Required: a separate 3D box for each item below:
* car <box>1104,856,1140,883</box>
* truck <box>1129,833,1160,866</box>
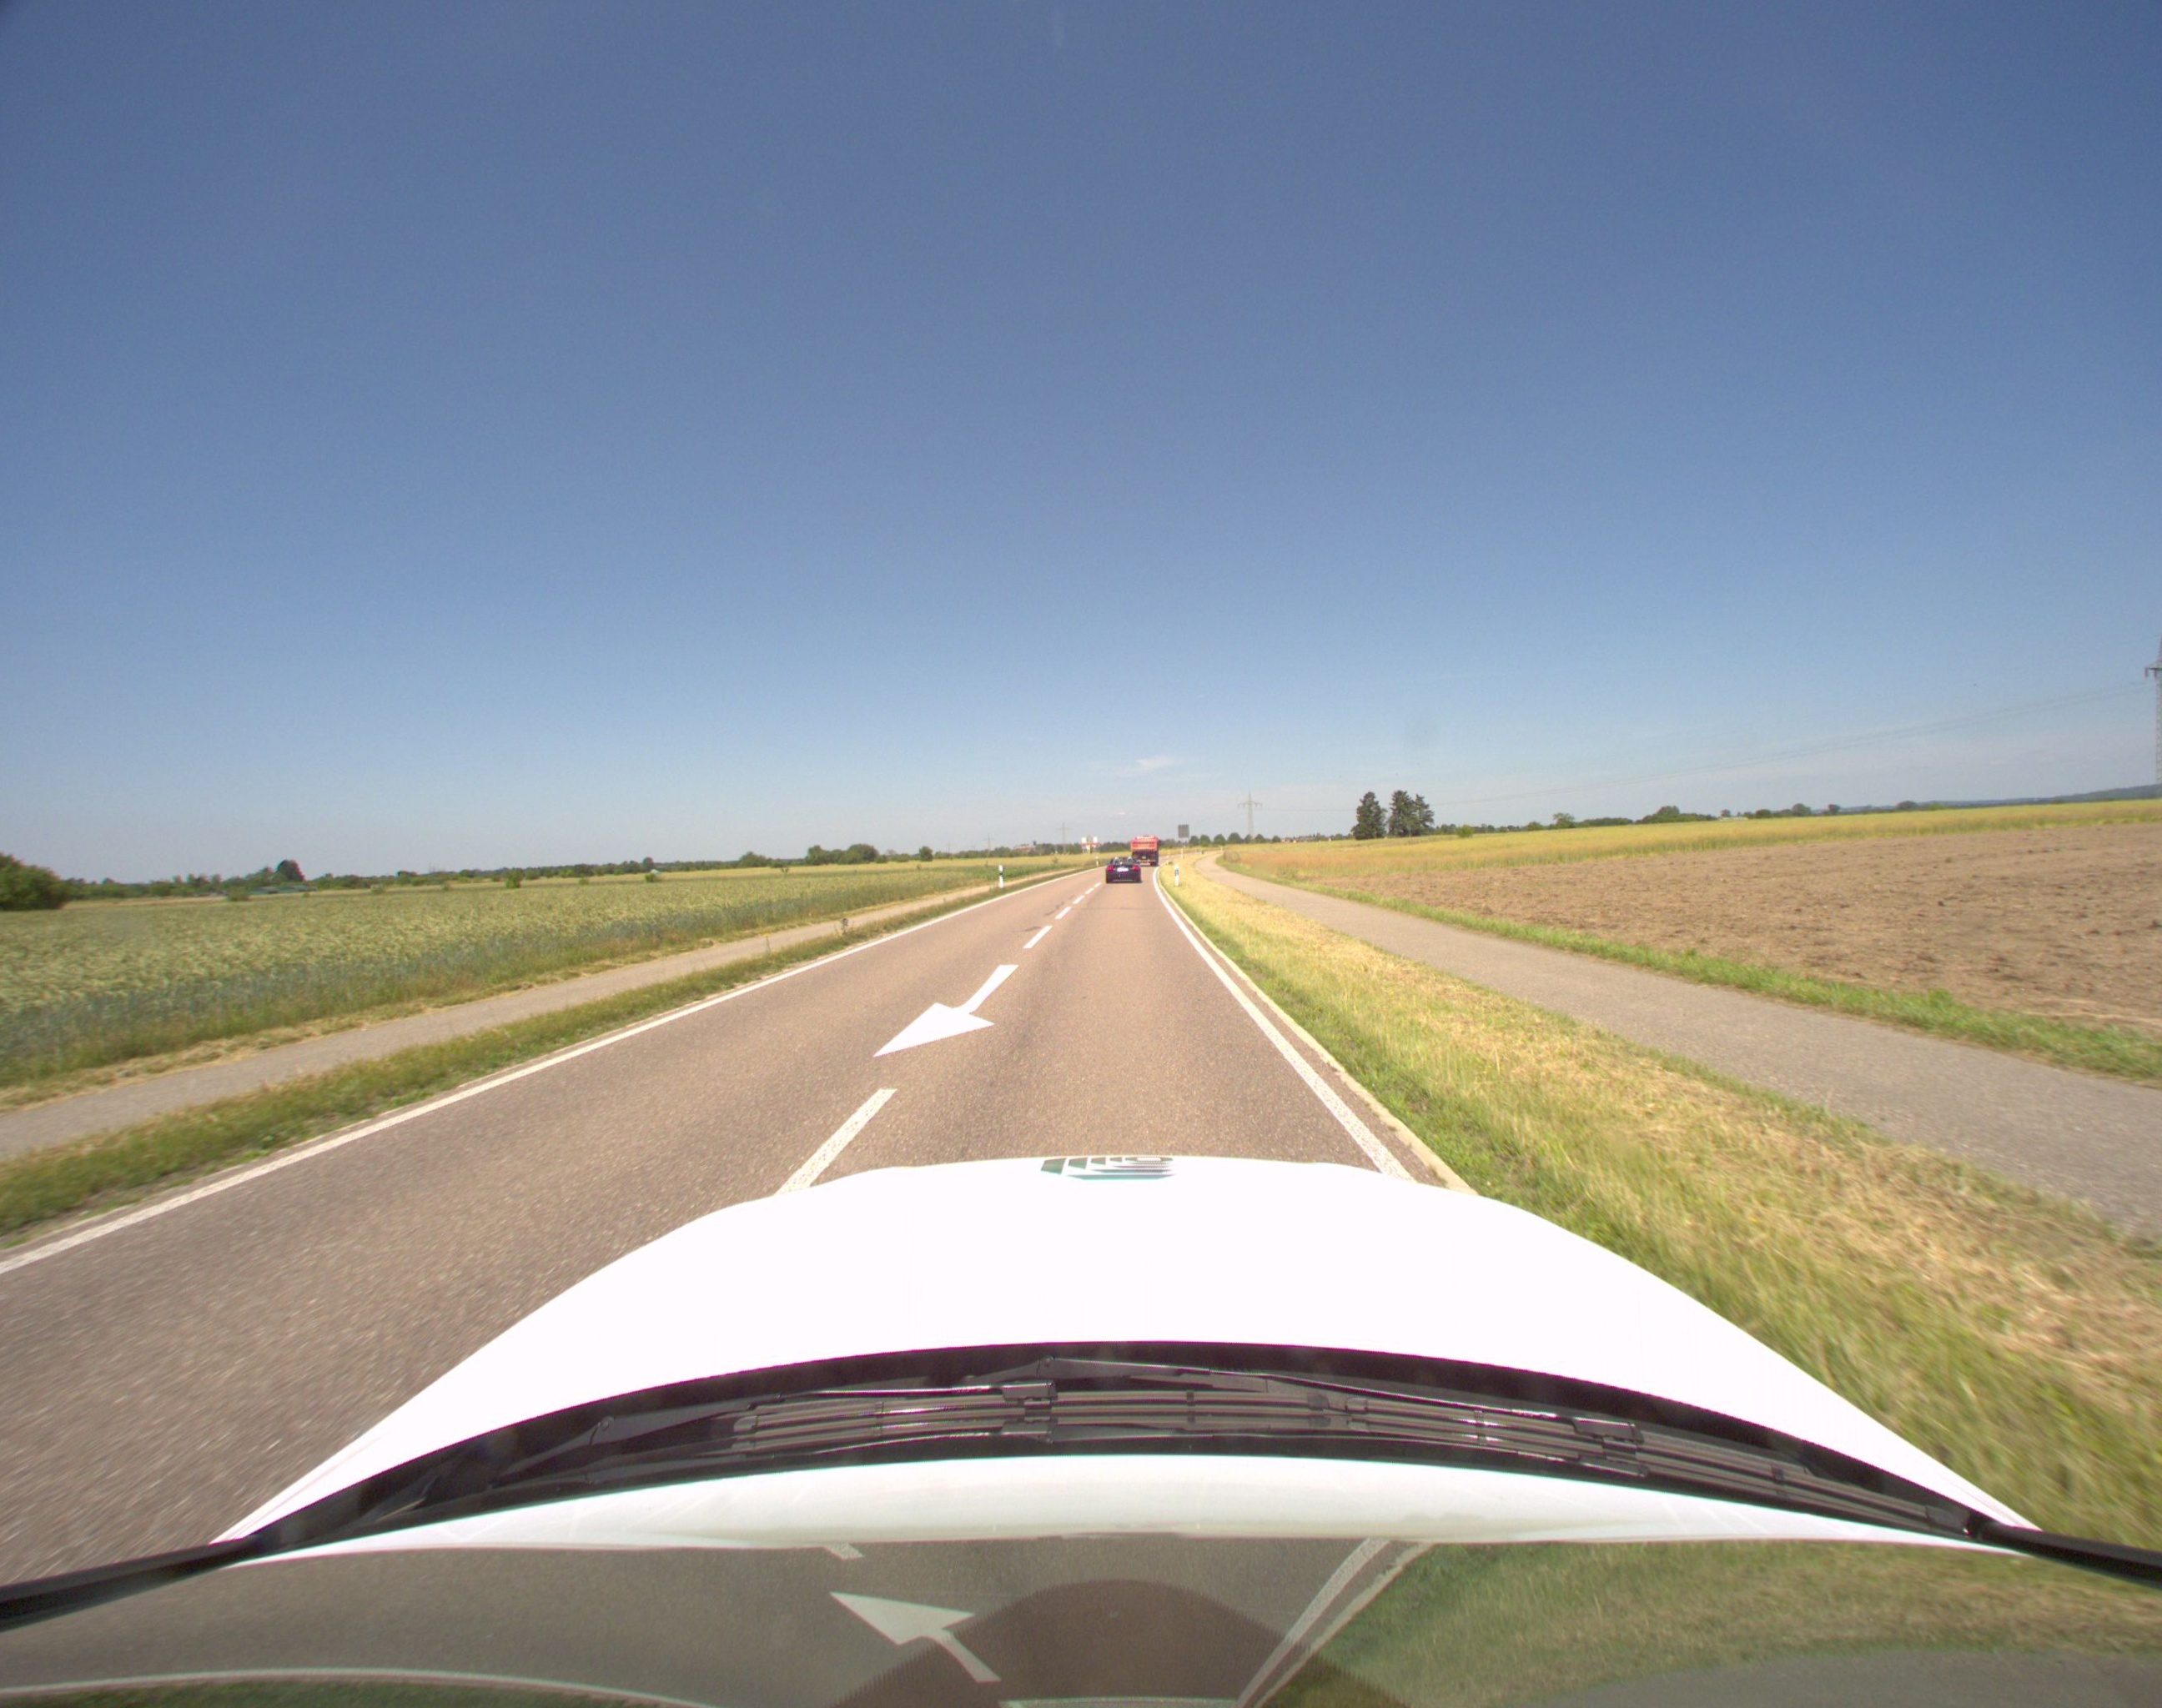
[{"bbox_3d":[2.121,0.736,41.338,1.736,1.280,4.004,-1,0,4],"label":"car"},{"bbox_3d":[6.470,-0.375,82.051,2.923,3.089,7.207,-1,-1,6],"label":"truck"}]
